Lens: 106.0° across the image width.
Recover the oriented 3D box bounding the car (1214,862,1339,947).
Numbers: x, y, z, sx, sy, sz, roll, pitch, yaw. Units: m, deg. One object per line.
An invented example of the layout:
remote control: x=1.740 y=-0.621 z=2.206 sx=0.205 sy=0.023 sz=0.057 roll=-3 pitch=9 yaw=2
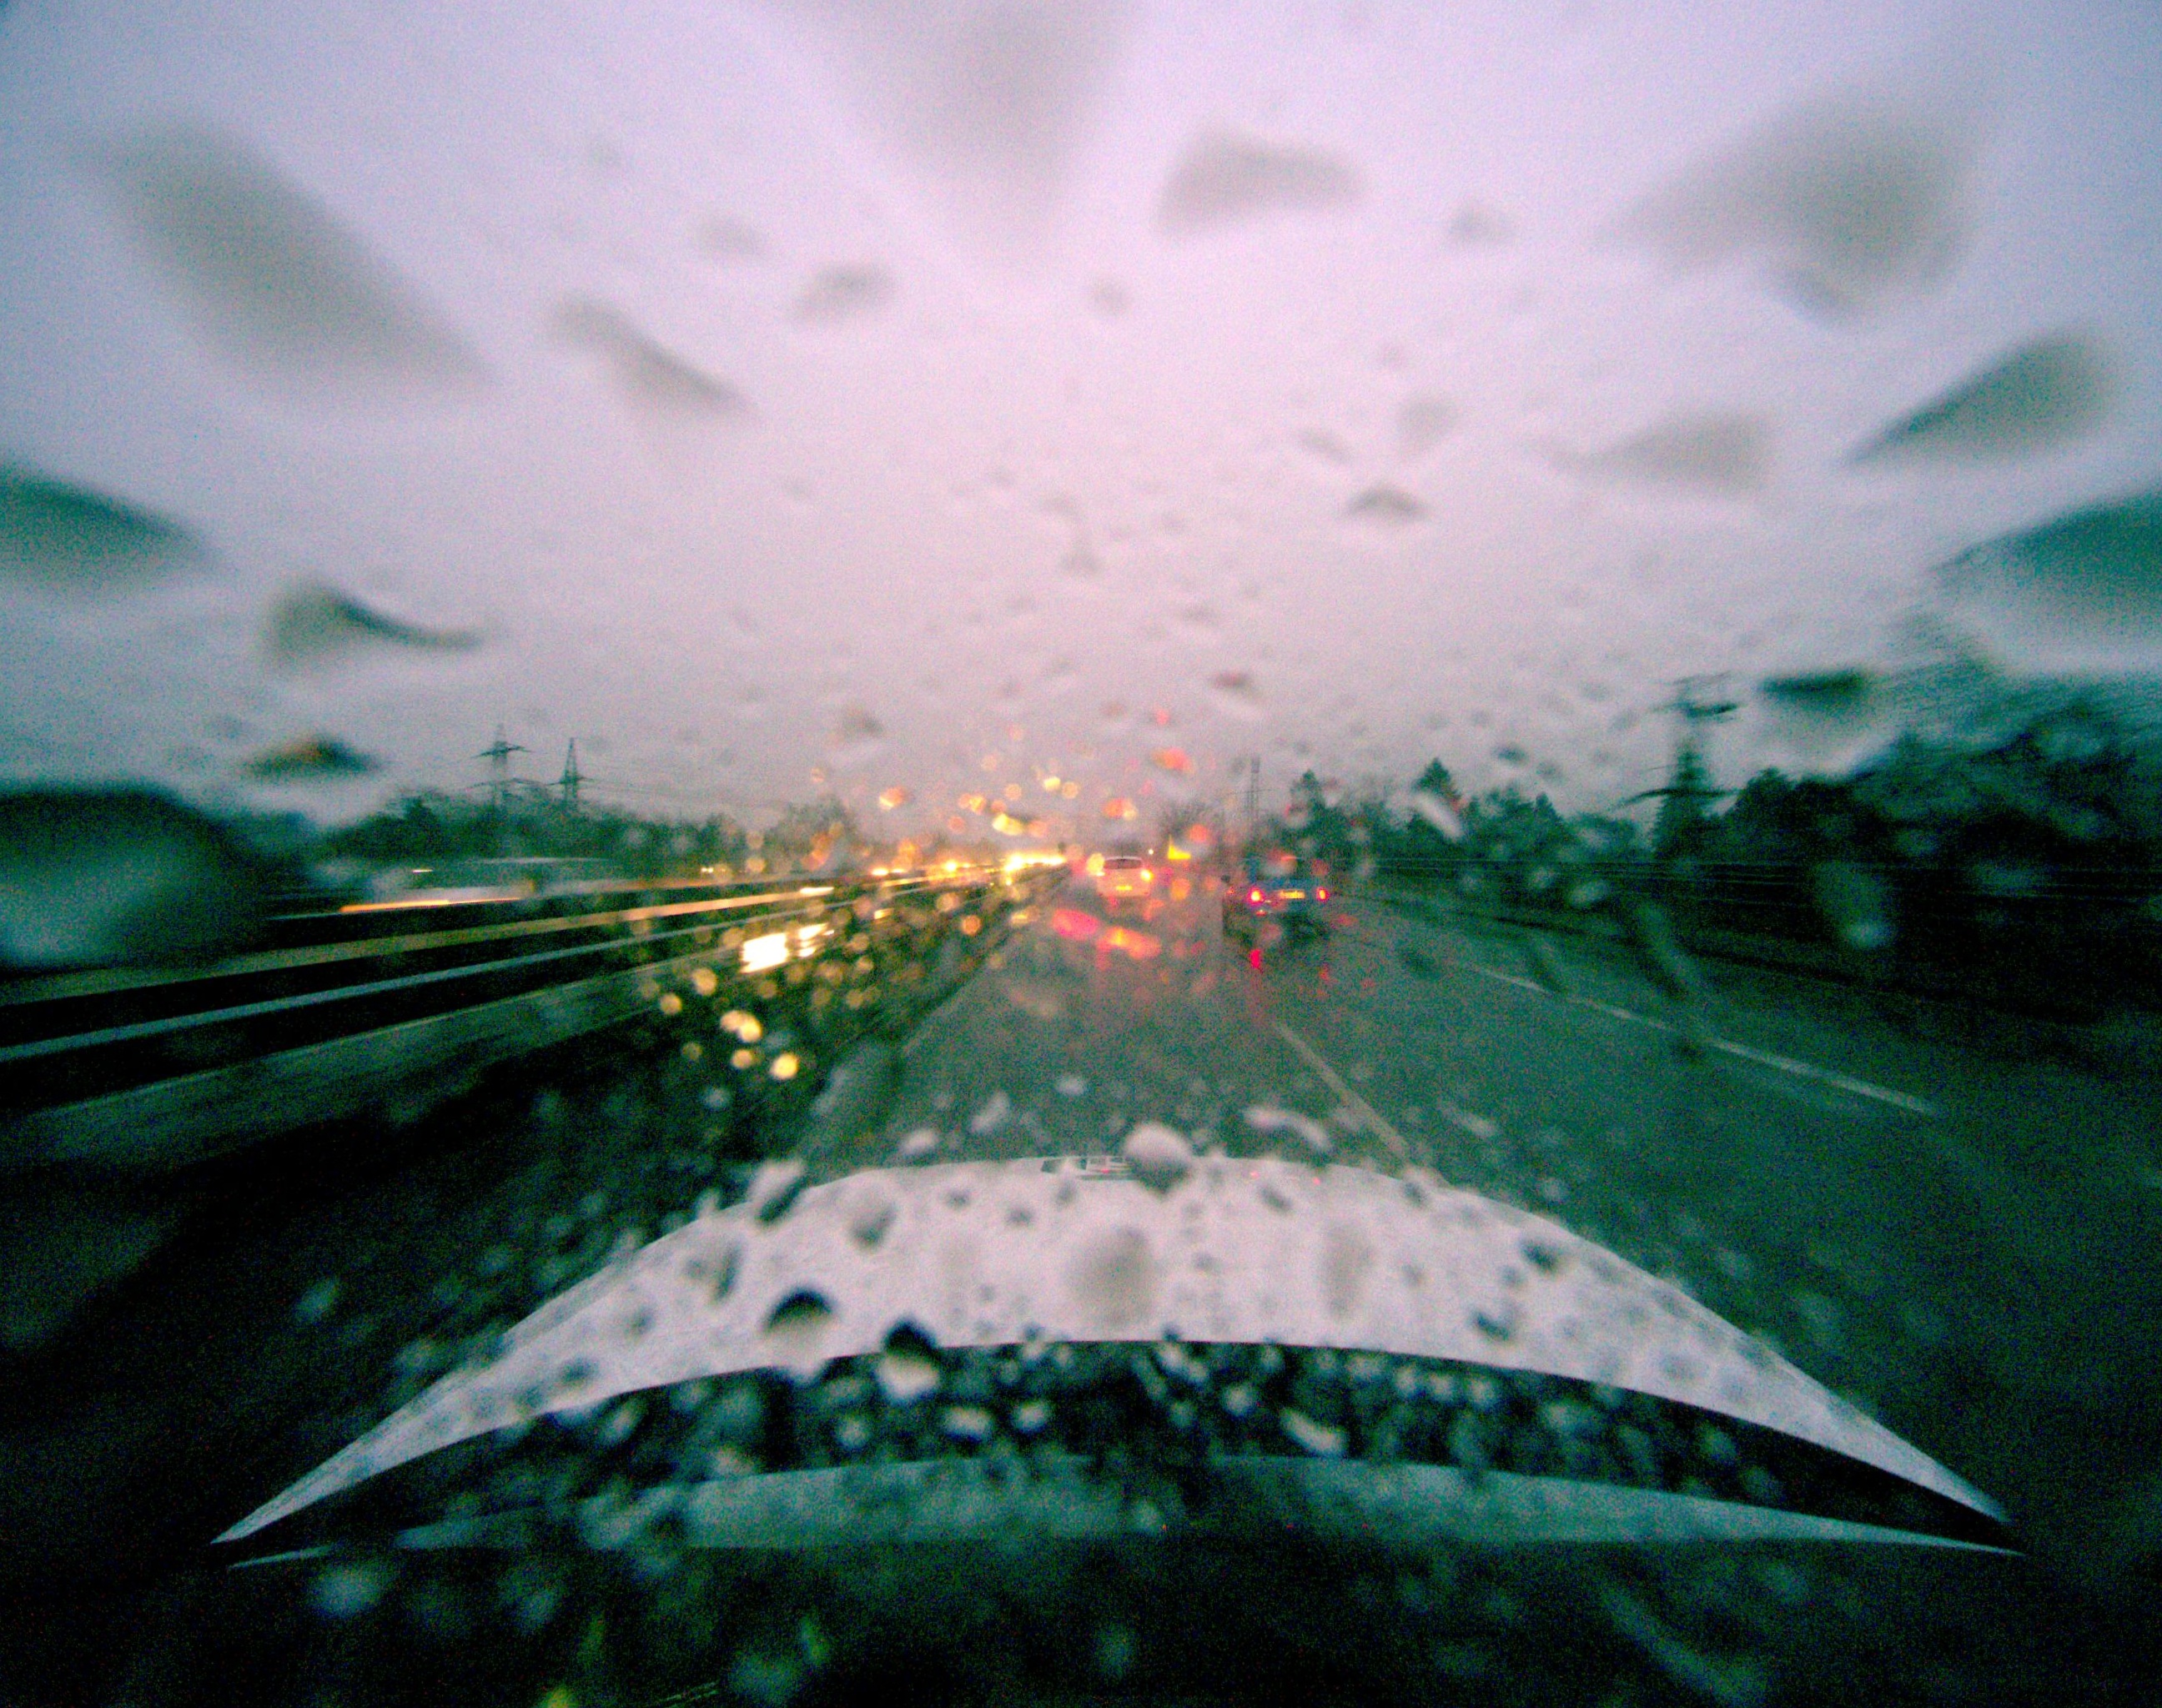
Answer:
car: x=3.923 y=0.953 z=17.016 sx=1.837 sy=1.453 sz=4.153 roll=-1 pitch=1 yaw=4

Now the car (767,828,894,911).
car: x=-6.700 y=0.378 z=22.314 sx=1.956 sy=2.053 sz=4.376 roll=0 pitch=0 yaw=2

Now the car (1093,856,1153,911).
car: x=1.369 y=0.917 z=26.789 sx=1.838 sy=1.636 sz=3.770 roll=-1 pitch=-1 yaw=2

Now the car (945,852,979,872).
car: x=-9.633 y=0.616 z=66.201 sx=1.986 sy=1.596 sz=4.658 roll=0 pitch=0 yaw=1

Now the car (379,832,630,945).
car: x=-10.453 y=0.554 z=15.194 sx=1.736 sy=1.816 sz=4.002 roll=0 pitch=0 yaw=2

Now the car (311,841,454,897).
car: x=-26.728 y=0.534 z=31.370 sx=1.986 sy=2.013 sz=4.001 roll=0 pitch=0 yaw=2
